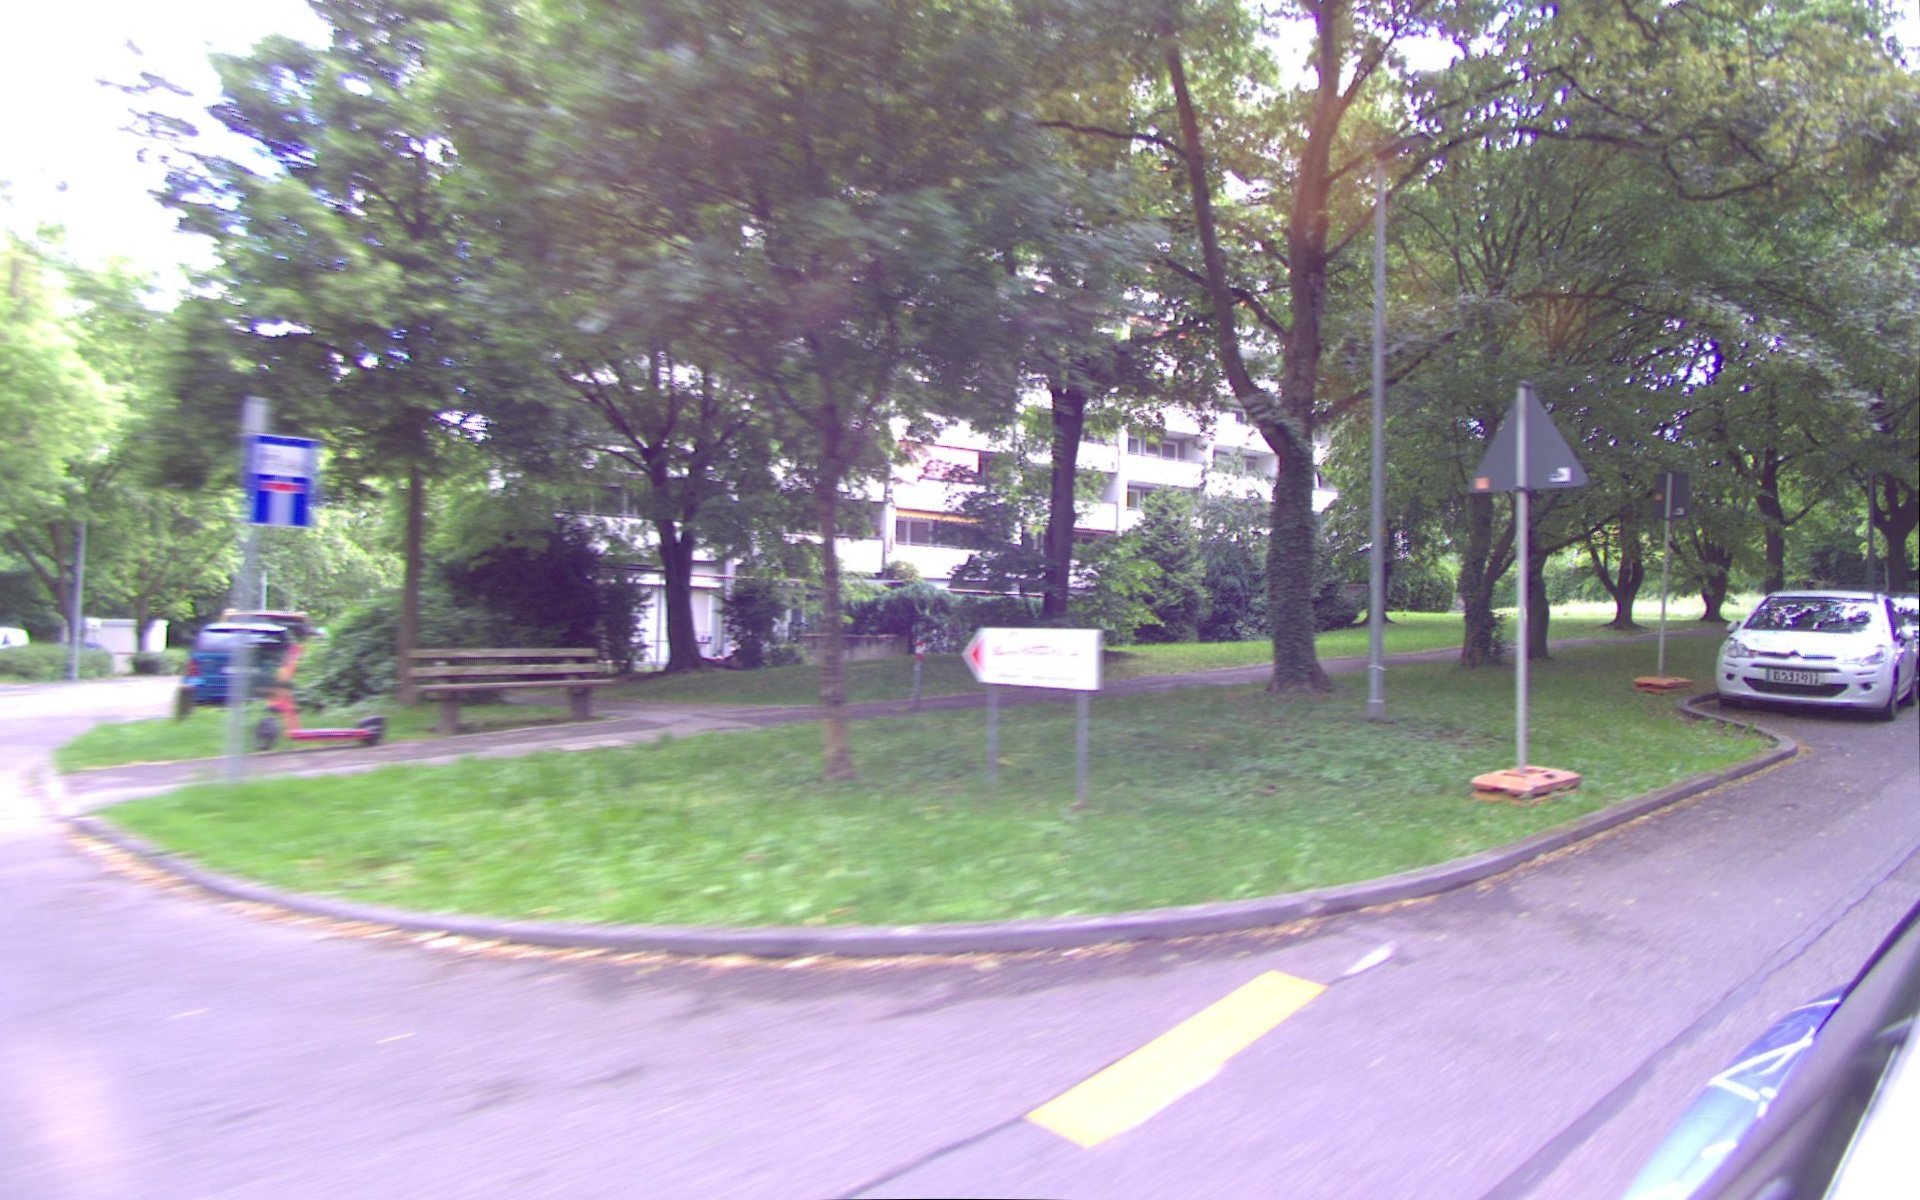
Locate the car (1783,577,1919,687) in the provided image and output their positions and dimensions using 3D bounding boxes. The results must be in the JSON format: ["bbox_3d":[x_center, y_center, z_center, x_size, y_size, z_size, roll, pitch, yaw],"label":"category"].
[{"bbox_3d":[14.729,0.438,16.002,4.106,1.542,1.778,0,0,-38],"label":"car"}]

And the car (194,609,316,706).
[{"bbox_3d":[-15.163,1.132,21.969,1.796,1.872,4.414,0,-1,-30],"label":"car"}]

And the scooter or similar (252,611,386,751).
[{"bbox_3d":[-6.289,0.768,9.951,1.087,1.303,0.283,0,-1,-38],"label":"scooter or similar"}]

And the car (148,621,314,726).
[{"bbox_3d":[-12.689,1.199,17.842,1.795,1.590,3.533,0,-1,-26],"label":"car"}]

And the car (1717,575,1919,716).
[{"bbox_3d":[11.226,0.478,12.996,3.717,1.542,1.776,-1,0,-43],"label":"car"}]

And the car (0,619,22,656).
[{"bbox_3d":[-42.353,1.625,43.904,1.765,1.518,4.220,0,0,-34],"label":"car"}]
